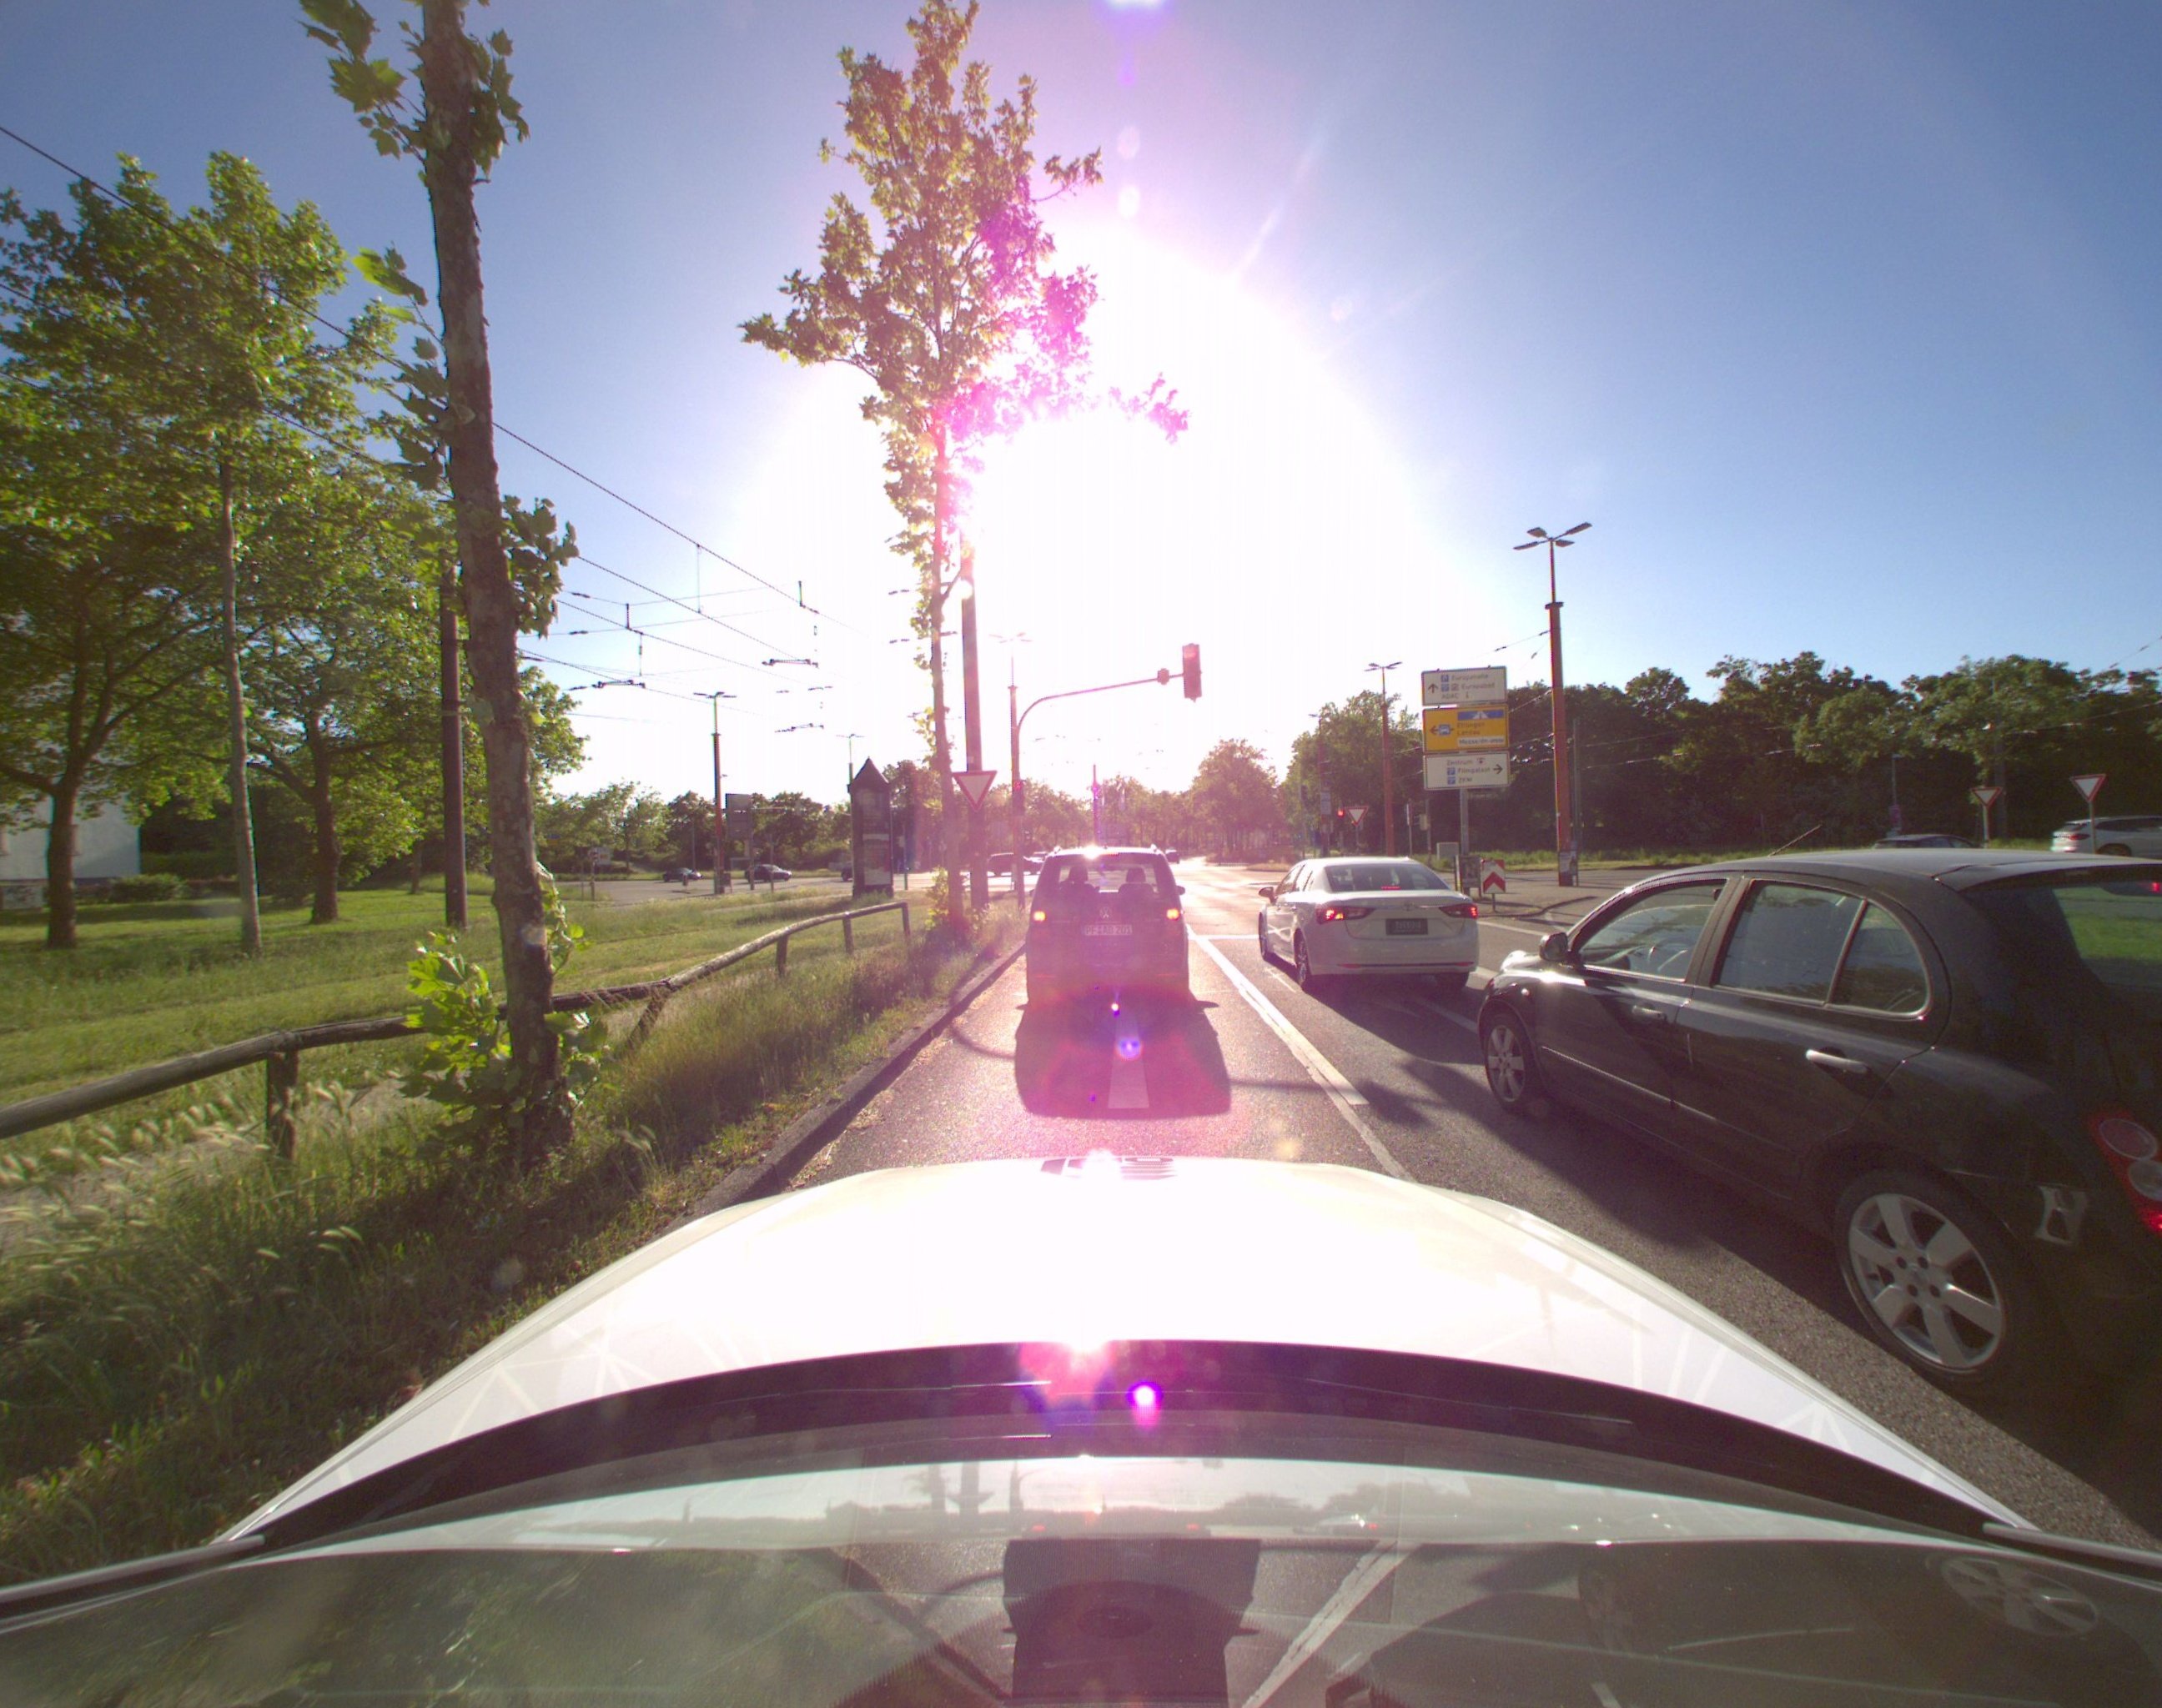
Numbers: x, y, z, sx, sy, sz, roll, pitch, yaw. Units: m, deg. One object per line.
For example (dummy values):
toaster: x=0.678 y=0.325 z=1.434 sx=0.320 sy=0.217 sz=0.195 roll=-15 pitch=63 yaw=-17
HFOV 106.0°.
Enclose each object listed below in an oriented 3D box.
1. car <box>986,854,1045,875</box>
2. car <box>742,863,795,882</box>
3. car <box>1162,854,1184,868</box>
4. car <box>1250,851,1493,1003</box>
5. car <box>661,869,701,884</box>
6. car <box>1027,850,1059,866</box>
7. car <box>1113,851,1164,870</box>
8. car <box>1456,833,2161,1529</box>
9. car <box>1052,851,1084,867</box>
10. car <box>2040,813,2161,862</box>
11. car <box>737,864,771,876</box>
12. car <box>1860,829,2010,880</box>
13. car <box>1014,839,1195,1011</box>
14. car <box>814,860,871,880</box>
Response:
car: x=-5.056 y=0.779 z=62.335 sx=4.359 sy=1.464 sz=1.908 roll=-2 pitch=0 yaw=-9
car: x=-26.386 y=1.542 z=68.815 sx=4.186 sy=1.464 sz=1.926 roll=-2 pitch=0 yaw=30
car: x=10.682 y=0.781 z=94.409 sx=1.894 sy=1.464 sz=4.238 roll=-2 pitch=0 yaw=13
car: x=3.296 y=0.723 z=10.109 sx=1.708 sy=1.454 sz=4.147 roll=-2 pitch=0 yaw=3
car: x=-38.300 y=2.164 z=77.948 sx=3.765 sy=1.310 sz=1.753 roll=-2 pitch=0 yaw=34
car: x=-4.311 y=0.463 z=93.649 sx=1.977 sy=1.684 sz=4.852 roll=-2 pitch=0 yaw=19
car: x=4.840 y=0.514 z=68.244 sx=4.247 sy=1.464 sz=1.891 roll=-1 pitch=0 yaw=-44
car: x=3.166 y=0.697 z=3.506 sx=1.550 sy=1.506 sz=3.517 roll=-2 pitch=0 yaw=2
car: x=-1.434 y=0.524 z=91.856 sx=1.977 sy=1.684 sz=4.853 roll=-2 pitch=0 yaw=20
car: x=37.166 y=-0.600 z=28.183 sx=4.734 sy=1.598 sz=1.926 roll=-2 pitch=0 yaw=31
car: x=-39.750 y=1.908 z=98.989 sx=3.770 sy=1.310 sz=1.672 roll=-2 pitch=0 yaw=21
car: x=27.161 y=-0.010 z=25.930 sx=3.889 sy=1.469 sz=1.741 roll=-2 pitch=0 yaw=-17
car: x=0.295 y=0.700 z=9.982 sx=1.731 sy=1.641 sz=4.002 roll=-2 pitch=0 yaw=2
car: x=-19.009 y=1.268 z=64.862 sx=4.007 sy=1.464 sz=1.924 roll=-2 pitch=0 yaw=22
